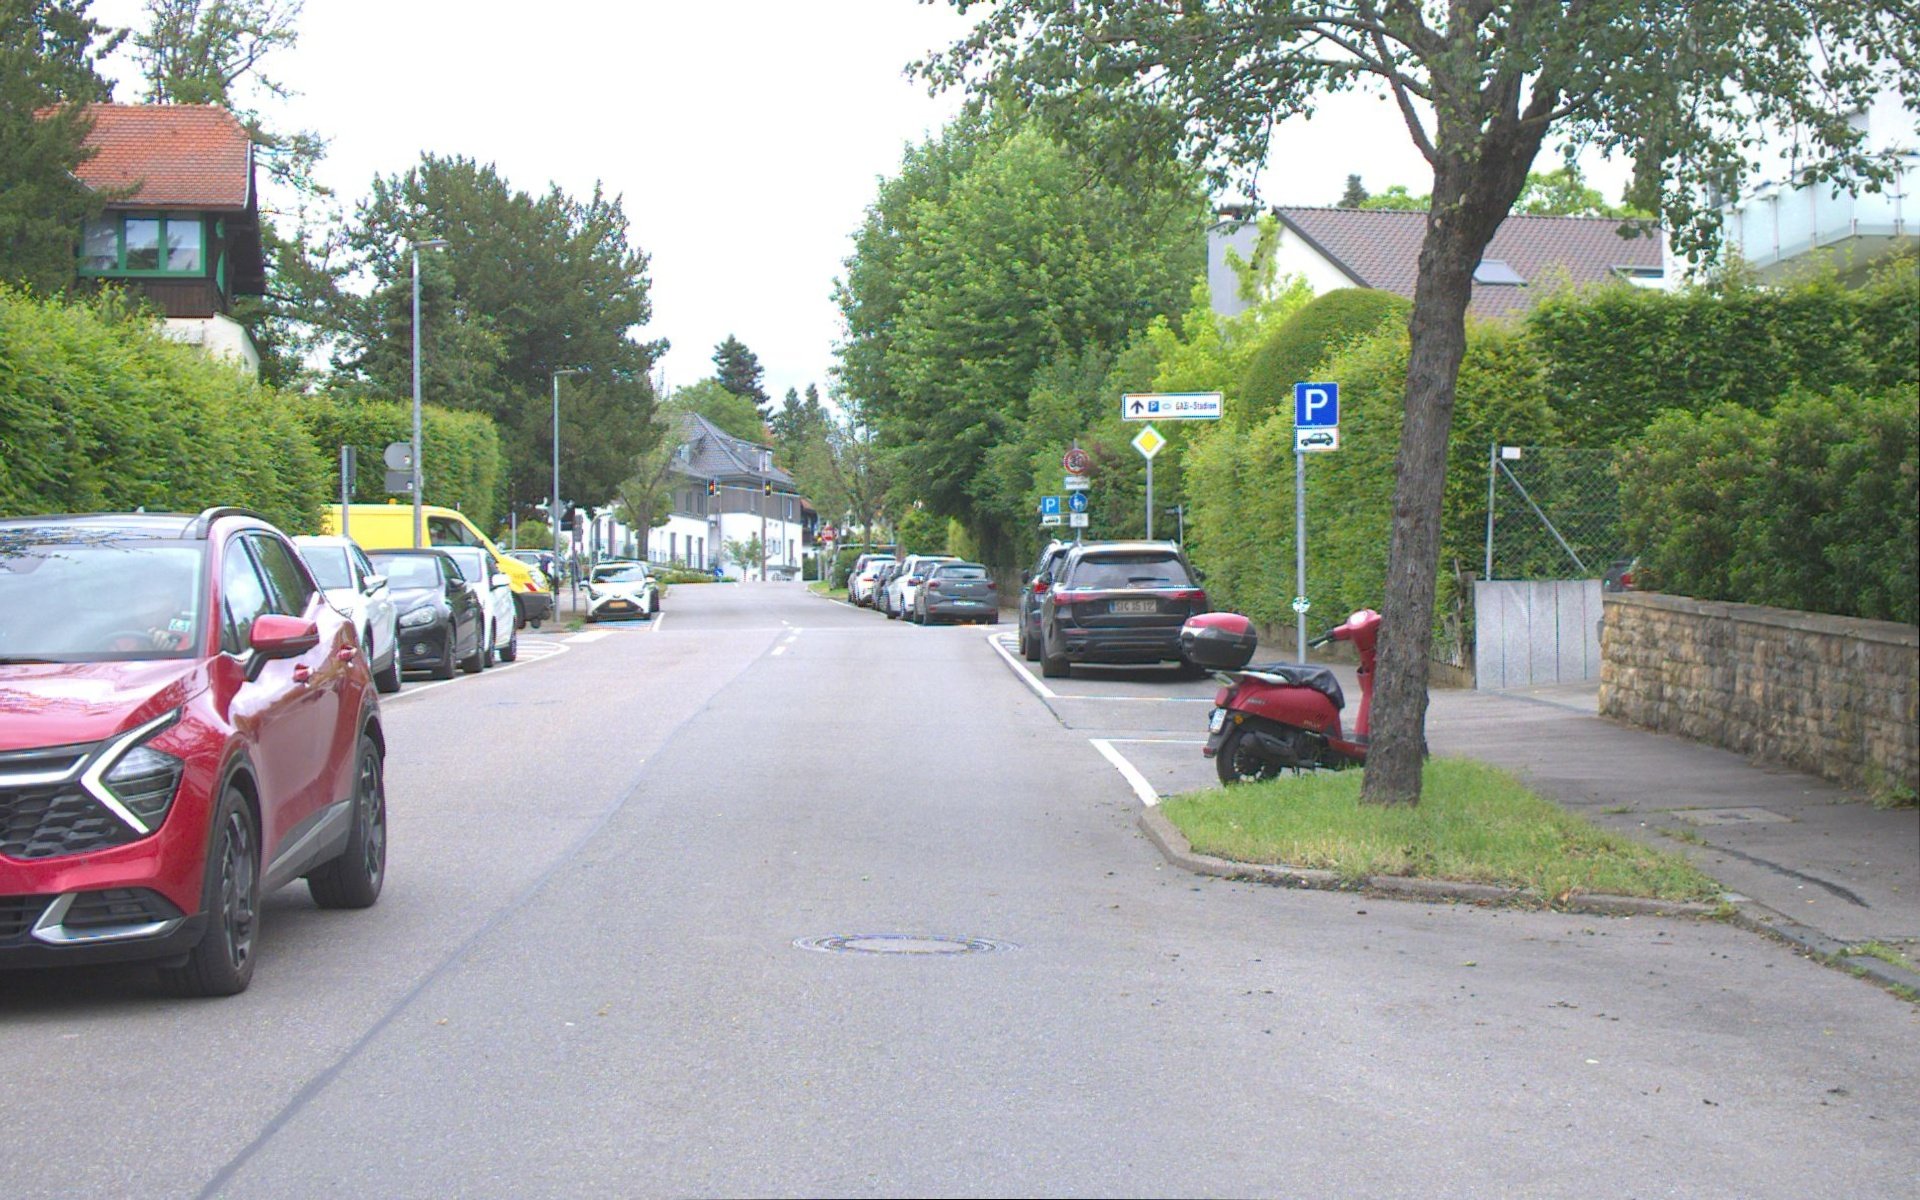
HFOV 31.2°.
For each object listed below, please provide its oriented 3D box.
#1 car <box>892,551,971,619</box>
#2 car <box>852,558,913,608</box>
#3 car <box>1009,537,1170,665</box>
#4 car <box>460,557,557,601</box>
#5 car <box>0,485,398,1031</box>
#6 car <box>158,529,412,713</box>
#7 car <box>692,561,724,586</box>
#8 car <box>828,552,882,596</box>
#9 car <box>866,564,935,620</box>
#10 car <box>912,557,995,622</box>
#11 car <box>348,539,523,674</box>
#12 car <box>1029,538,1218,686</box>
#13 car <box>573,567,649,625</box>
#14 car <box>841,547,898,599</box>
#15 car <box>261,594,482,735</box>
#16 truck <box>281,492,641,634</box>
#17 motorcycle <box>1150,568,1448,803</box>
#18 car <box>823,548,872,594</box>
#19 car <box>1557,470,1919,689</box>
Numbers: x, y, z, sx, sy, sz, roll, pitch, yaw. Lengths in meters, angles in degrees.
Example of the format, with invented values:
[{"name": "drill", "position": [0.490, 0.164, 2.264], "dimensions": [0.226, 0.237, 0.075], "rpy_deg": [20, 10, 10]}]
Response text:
[{"name": "car", "position": [-0.738, -0.389, 86.503], "dimensions": [1.713, 1.652, 3.623], "rpy_deg": [0, 1, -5]}, {"name": "car", "position": [-2.417, -0.541, 106.353], "dimensions": [1.664, 1.495, 3.468], "rpy_deg": [0, 1, -5]}, {"name": "car", "position": [1.622, -0.025, 44.436], "dimensions": [1.882, 1.528, 4.475], "rpy_deg": [1, 1, 0]}, {"name": "car", "position": [-18.241, -0.861, 138.723], "dimensions": [3.843, 1.731, 1.642], "rpy_deg": [0, 1, -8]}, {"name": "car", "position": [-3.372, 0.471, 12.587], "dimensions": [1.941, 1.641, 4.258], "rpy_deg": [-2, 1, -1]}, {"name": "car", "position": [-6.107, 0.136, 31.491], "dimensions": [1.722, 1.535, 4.001], "rpy_deg": [-1, 1, -3]}, {"name": "car", "position": [-14.770, -1.546, 201.693], "dimensions": [1.822, 1.415, 4.001], "rpy_deg": [0, 1, -5]}, {"name": "car", "position": [-3.707, -0.928, 120.889], "dimensions": [1.664, 1.495, 3.468], "rpy_deg": [0, 1, -5]}, {"name": "car", "position": [-1.679, -0.234, 95.800], "dimensions": [1.664, 1.495, 3.468], "rpy_deg": [0, 1, -5]}, {"name": "car", "position": [-0.176, -0.264, 81.736], "dimensions": [1.664, 1.495, 3.468], "rpy_deg": [0, 1, -5]}, {"name": "car", "position": [-6.427, 0.048, 42.441], "dimensions": [1.630, 1.518, 3.638], "rpy_deg": [-2, 1, -1]}, {"name": "car", "position": [1.779, 0.086, 38.665], "dimensions": [1.882, 1.528, 4.475], "rpy_deg": [1, 1, 0]}, {"name": "car", "position": [-8.873, -0.124, 87.299], "dimensions": [1.664, 1.395, 3.468], "rpy_deg": [0, 1, -10]}, {"name": "car", "position": [-2.980, -0.900, 113.056], "dimensions": [1.664, 1.662, 3.468], "rpy_deg": [0, 1, -5]}, {"name": "car", "position": [-6.354, 0.679, 37.509], "dimensions": [1.762, 1.383, 4.000], "rpy_deg": [-2, 0, -1]}, {"name": "truck", "position": [-8.905, -0.607, 61.184], "dimensions": [5.930, 2.301, 2.826], "rpy_deg": [1, -2, -18]}, {"name": "motorcycle", "position": [2.059, 0.489, 20.745], "dimensions": [1.863, 1.342, 0.599], "rpy_deg": [-1, 1, -36]}, {"name": "car", "position": [-4.227, -1.086, 128.492], "dimensions": [1.643, 1.662, 3.468], "rpy_deg": [0, 1, -5]}, {"name": "car", "position": [7.687, -0.279, 30.144], "dimensions": [4.363, 1.463, 1.968], "rpy_deg": [-7, 1, -2]}]
